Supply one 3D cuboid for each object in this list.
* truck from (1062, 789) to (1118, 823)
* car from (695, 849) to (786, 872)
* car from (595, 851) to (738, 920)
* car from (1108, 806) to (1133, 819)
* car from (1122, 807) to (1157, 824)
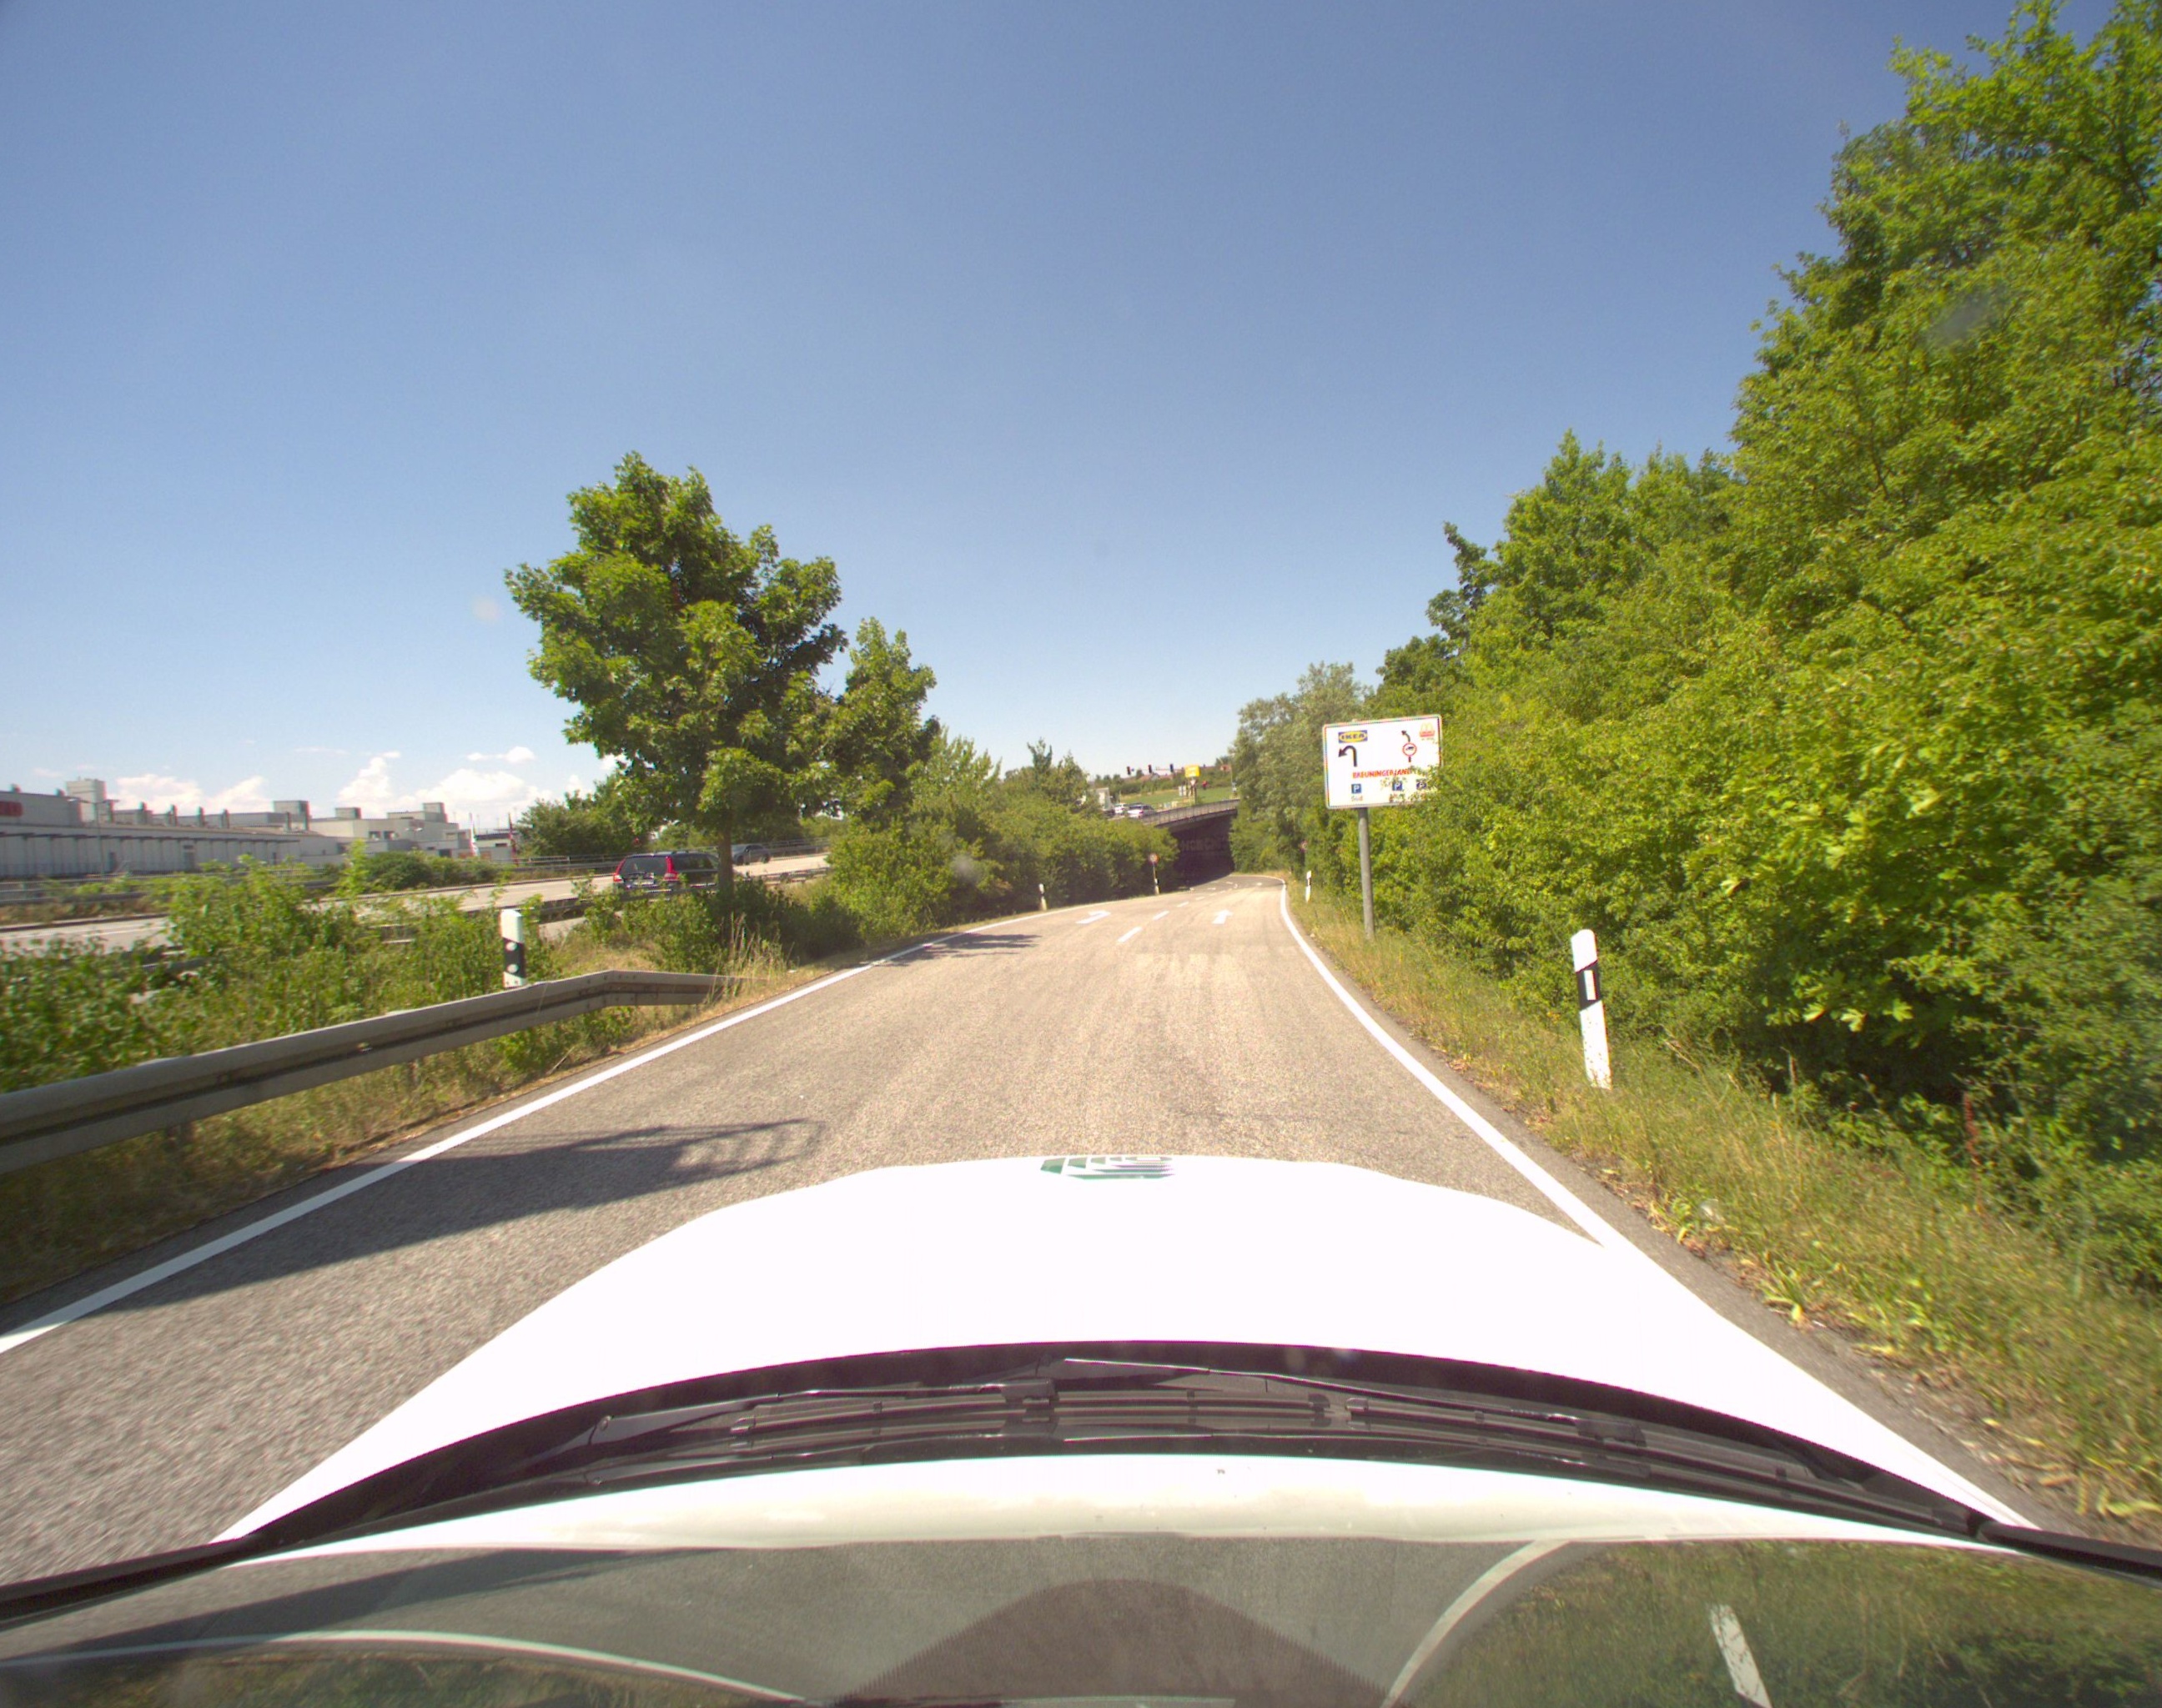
[{"bbox_3d":[1.168,-5.590,95.669,3.000,3.589,8.955,-5,1,24],"label":"truck"},{"bbox_3d":[-22.980,0.394,55.340,2.133,1.442,5.869,-2,0,22],"label":"car"},{"bbox_3d":[-10.980,0.761,22.009,1.729,1.545,4.725,-4,0,-5],"label":"car"},{"bbox_3d":[5.000,-5.194,102.750,1.881,1.363,4.021,-2,0,21],"label":"car"},{"bbox_3d":[5.460,-3.565,75.420,1.976,1.420,4.022,-5,1,22],"label":"car"}]
